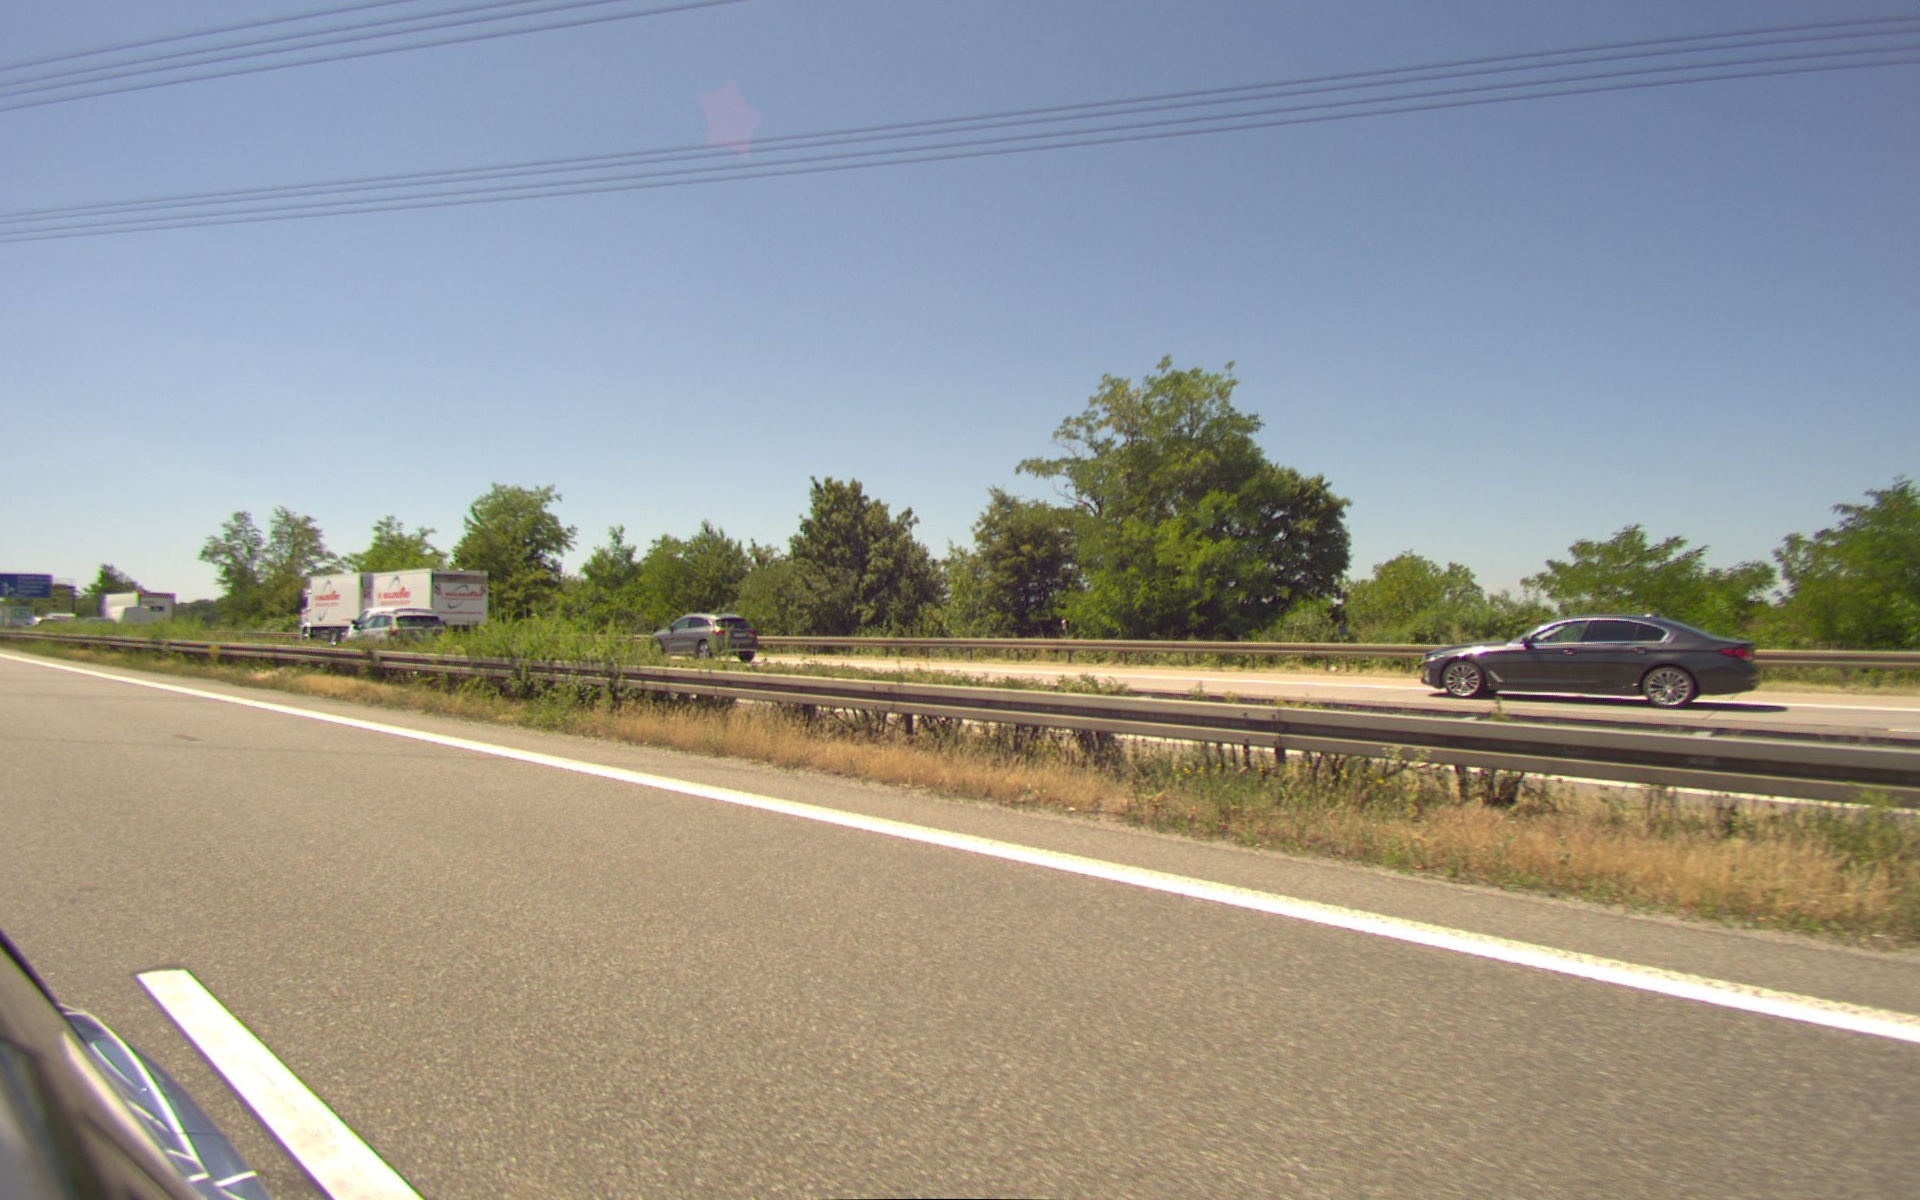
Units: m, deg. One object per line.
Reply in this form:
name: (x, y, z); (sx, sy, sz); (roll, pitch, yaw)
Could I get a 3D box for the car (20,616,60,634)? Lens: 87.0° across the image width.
car: (-91.576, 2.505, 100.701); (4.817, 1.652, 2.362); (-2, 0, 41)

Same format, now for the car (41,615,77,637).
car: (-106.783, 3.093, 119.939); (5.713, 2.635, 2.393); (-2, -3, 41)

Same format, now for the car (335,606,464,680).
car: (-16.995, 1.259, 30.608); (4.624, 2.029, 1.973); (-2, 0, 42)

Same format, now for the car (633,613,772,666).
car: (-8.638, 1.272, 33.657); (5.064, 1.597, 1.973); (-2, 0, 42)

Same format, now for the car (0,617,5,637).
car: (-96.386, 2.707, 99.920); (5.736, 1.946, 2.457); (-2, 0, 41)

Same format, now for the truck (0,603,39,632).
truck: (-133.970, 2.504, 143.387); (17.005, 3.831, 3.210); (-2, 0, 41)

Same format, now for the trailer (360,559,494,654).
trailer: (-25.716, 0.348, 48.624); (8.322, 4.196, 2.812); (-2, -1, 41)

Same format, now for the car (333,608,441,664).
car: (-22.816, 1.392, 40.186); (5.699, 2.029, 1.973); (-2, 0, 42)

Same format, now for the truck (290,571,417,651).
truck: (-32.976, 0.656, 54.748); (10.586, 3.979, 2.664); (-2, -1, 41)

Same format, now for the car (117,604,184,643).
car: (-57.087, 1.670, 71.299); (7.117, 2.599, 2.457); (-2, 0, 41)

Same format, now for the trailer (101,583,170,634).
trailer: (-74.484, 0.831, 91.229); (14.424, 4.322, 2.398); (-2, -1, 41)

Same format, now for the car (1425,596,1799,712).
car: (10.808, 0.833, 17.060); (5.084, 1.674, 1.973); (-1, -2, 40)

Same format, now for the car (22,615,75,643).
car: (-69.753, 2.231, 77.452); (4.554, 2.029, 2.457); (-2, 0, 41)

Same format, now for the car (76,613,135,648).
car: (-52.283, 1.869, 61.863); (5.699, 2.029, 1.973); (-2, 0, 42)
